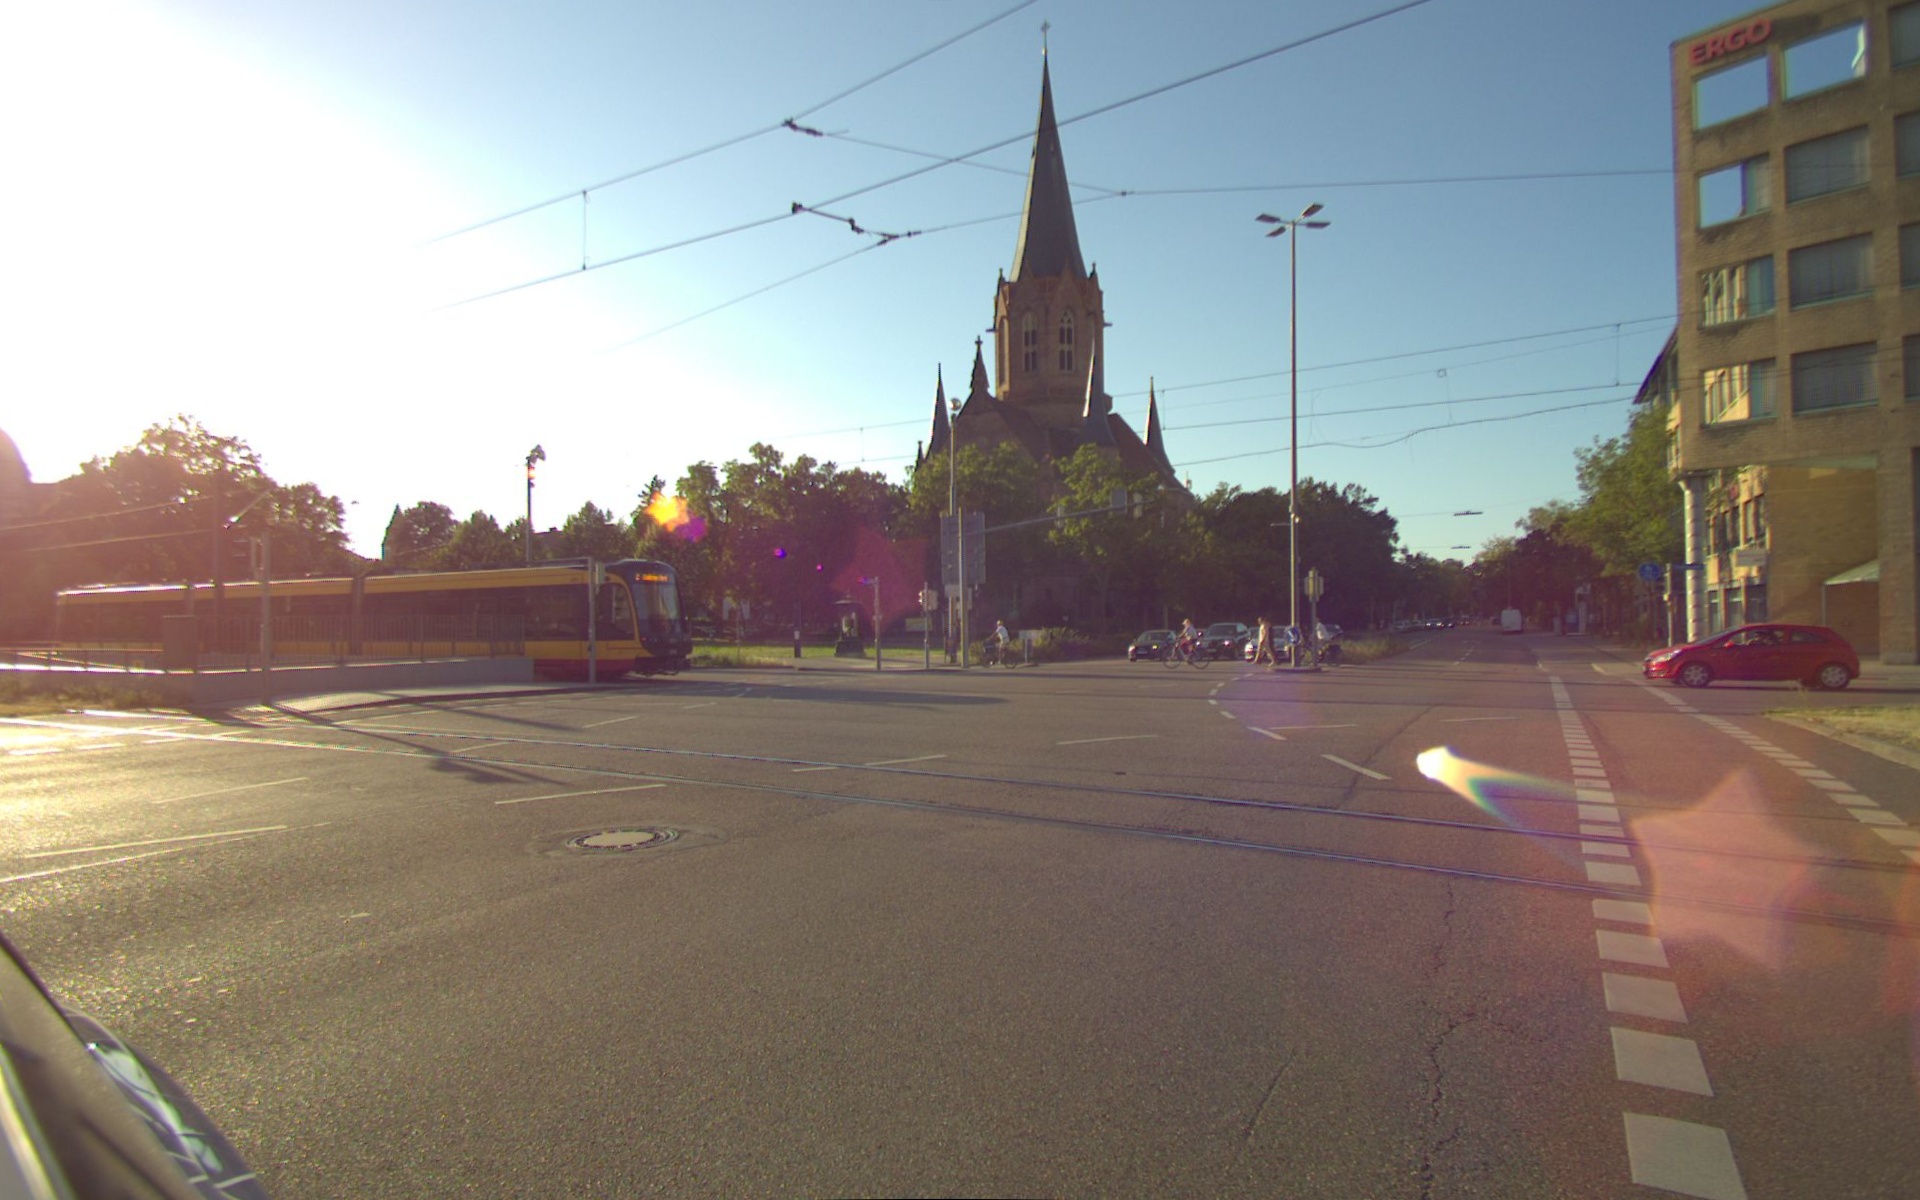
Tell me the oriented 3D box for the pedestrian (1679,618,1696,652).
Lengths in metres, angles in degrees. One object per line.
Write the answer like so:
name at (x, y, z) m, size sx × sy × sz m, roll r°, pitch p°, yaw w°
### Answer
pedestrian at (33.834, 1.617, 47.055) m, size 0.579 × 1.567 × 0.736 m, roll -2°, pitch -2°, yaw 35°

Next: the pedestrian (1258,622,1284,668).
pedestrian at (11.601, 1.671, 37.743) m, size 0.715 × 1.685 × 0.730 m, roll -2°, pitch -2°, yaw 32°

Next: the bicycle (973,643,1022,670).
bicycle at (1.480, 2.263, 40.434) m, size 1.922 × 1.034 × 0.520 m, roll -2°, pitch 0°, yaw 29°

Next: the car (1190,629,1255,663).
car at (11.876, 2.036, 45.659) m, size 1.894 × 1.431 × 3.960 m, roll -2°, pitch -2°, yaw 29°

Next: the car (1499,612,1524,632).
car at (58.577, 2.310, 107.495) m, size 2.223 × 2.029 × 4.557 m, roll -2°, pitch -2°, yaw 28°

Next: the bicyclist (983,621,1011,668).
bicyclist at (1.482, 1.795, 40.458) m, size 0.891 × 1.841 × 0.569 m, roll -2°, pitch 0°, yaw 29°

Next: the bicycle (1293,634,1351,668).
bicycle at (12.808, 1.821, 35.838) m, size 1.905 × 1.155 × 0.457 m, roll -2°, pitch 0°, yaw 20°

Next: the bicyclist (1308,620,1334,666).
bicyclist at (12.774, 1.523, 35.846) m, size 0.815 × 1.595 × 0.518 m, roll -2°, pitch 0°, yaw 20°

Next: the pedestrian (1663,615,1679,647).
pedestrian at (35.874, 1.567, 51.064) m, size 0.579 × 1.567 × 0.736 m, roll -2°, pitch -2°, yaw 35°

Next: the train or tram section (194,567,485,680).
train or tram section at (-22.546, 0.913, 36.290) m, size 13.192 × 3.563 × 2.755 m, roll -2°, pitch -1°, yaw 29°

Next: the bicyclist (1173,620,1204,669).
bicyclist at (8.075, 1.567, 35.775) m, size 0.892 × 1.693 × 0.568 m, roll -2°, pitch 0°, yaw 34°

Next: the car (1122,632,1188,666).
car at (9.131, 2.250, 47.246) m, size 1.894 × 1.431 × 3.960 m, roll -2°, pitch -2°, yaw 29°

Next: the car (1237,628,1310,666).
car at (12.964, 1.888, 41.712) m, size 1.896 × 1.431 × 3.956 m, roll -2°, pitch -2°, yaw 32°

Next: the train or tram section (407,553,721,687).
train or tram section at (-12.166, 0.665, 30.541) m, size 10.523 × 3.563 × 2.755 m, roll -2°, pitch -1°, yaw 29°

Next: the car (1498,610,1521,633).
car at (58.287, 2.243, 107.315) m, size 1.992 × 2.361 × 3.959 m, roll -2°, pitch -2°, yaw 30°

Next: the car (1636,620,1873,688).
car at (17.880, 1.220, 23.016) m, size 3.863 × 1.425 × 1.716 m, roll -2°, pitch -2°, yaw 25°

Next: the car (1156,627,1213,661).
car at (11.547, 2.244, 51.946) m, size 1.817 × 1.597 × 3.961 m, roll -2°, pitch -2°, yaw 28°

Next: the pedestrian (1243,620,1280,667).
pedestrian at (11.069, 1.587, 37.117) m, size 1.101 × 1.685 × 0.730 m, roll -2°, pitch -2°, yaw 32°

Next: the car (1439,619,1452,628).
car at (79.732, 3.848, 166.168) m, size 1.882 × 1.541 × 3.962 m, roll -2°, pitch -2°, yaw 28°

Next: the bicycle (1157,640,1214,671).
bicycle at (7.971, 1.954, 35.847) m, size 1.925 × 1.034 × 0.454 m, roll -2°, pitch 0°, yaw 34°

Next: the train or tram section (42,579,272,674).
train or tram section at (-34.087, 1.172, 42.693) m, size 13.192 × 3.563 × 2.755 m, roll -2°, pitch -1°, yaw 29°
